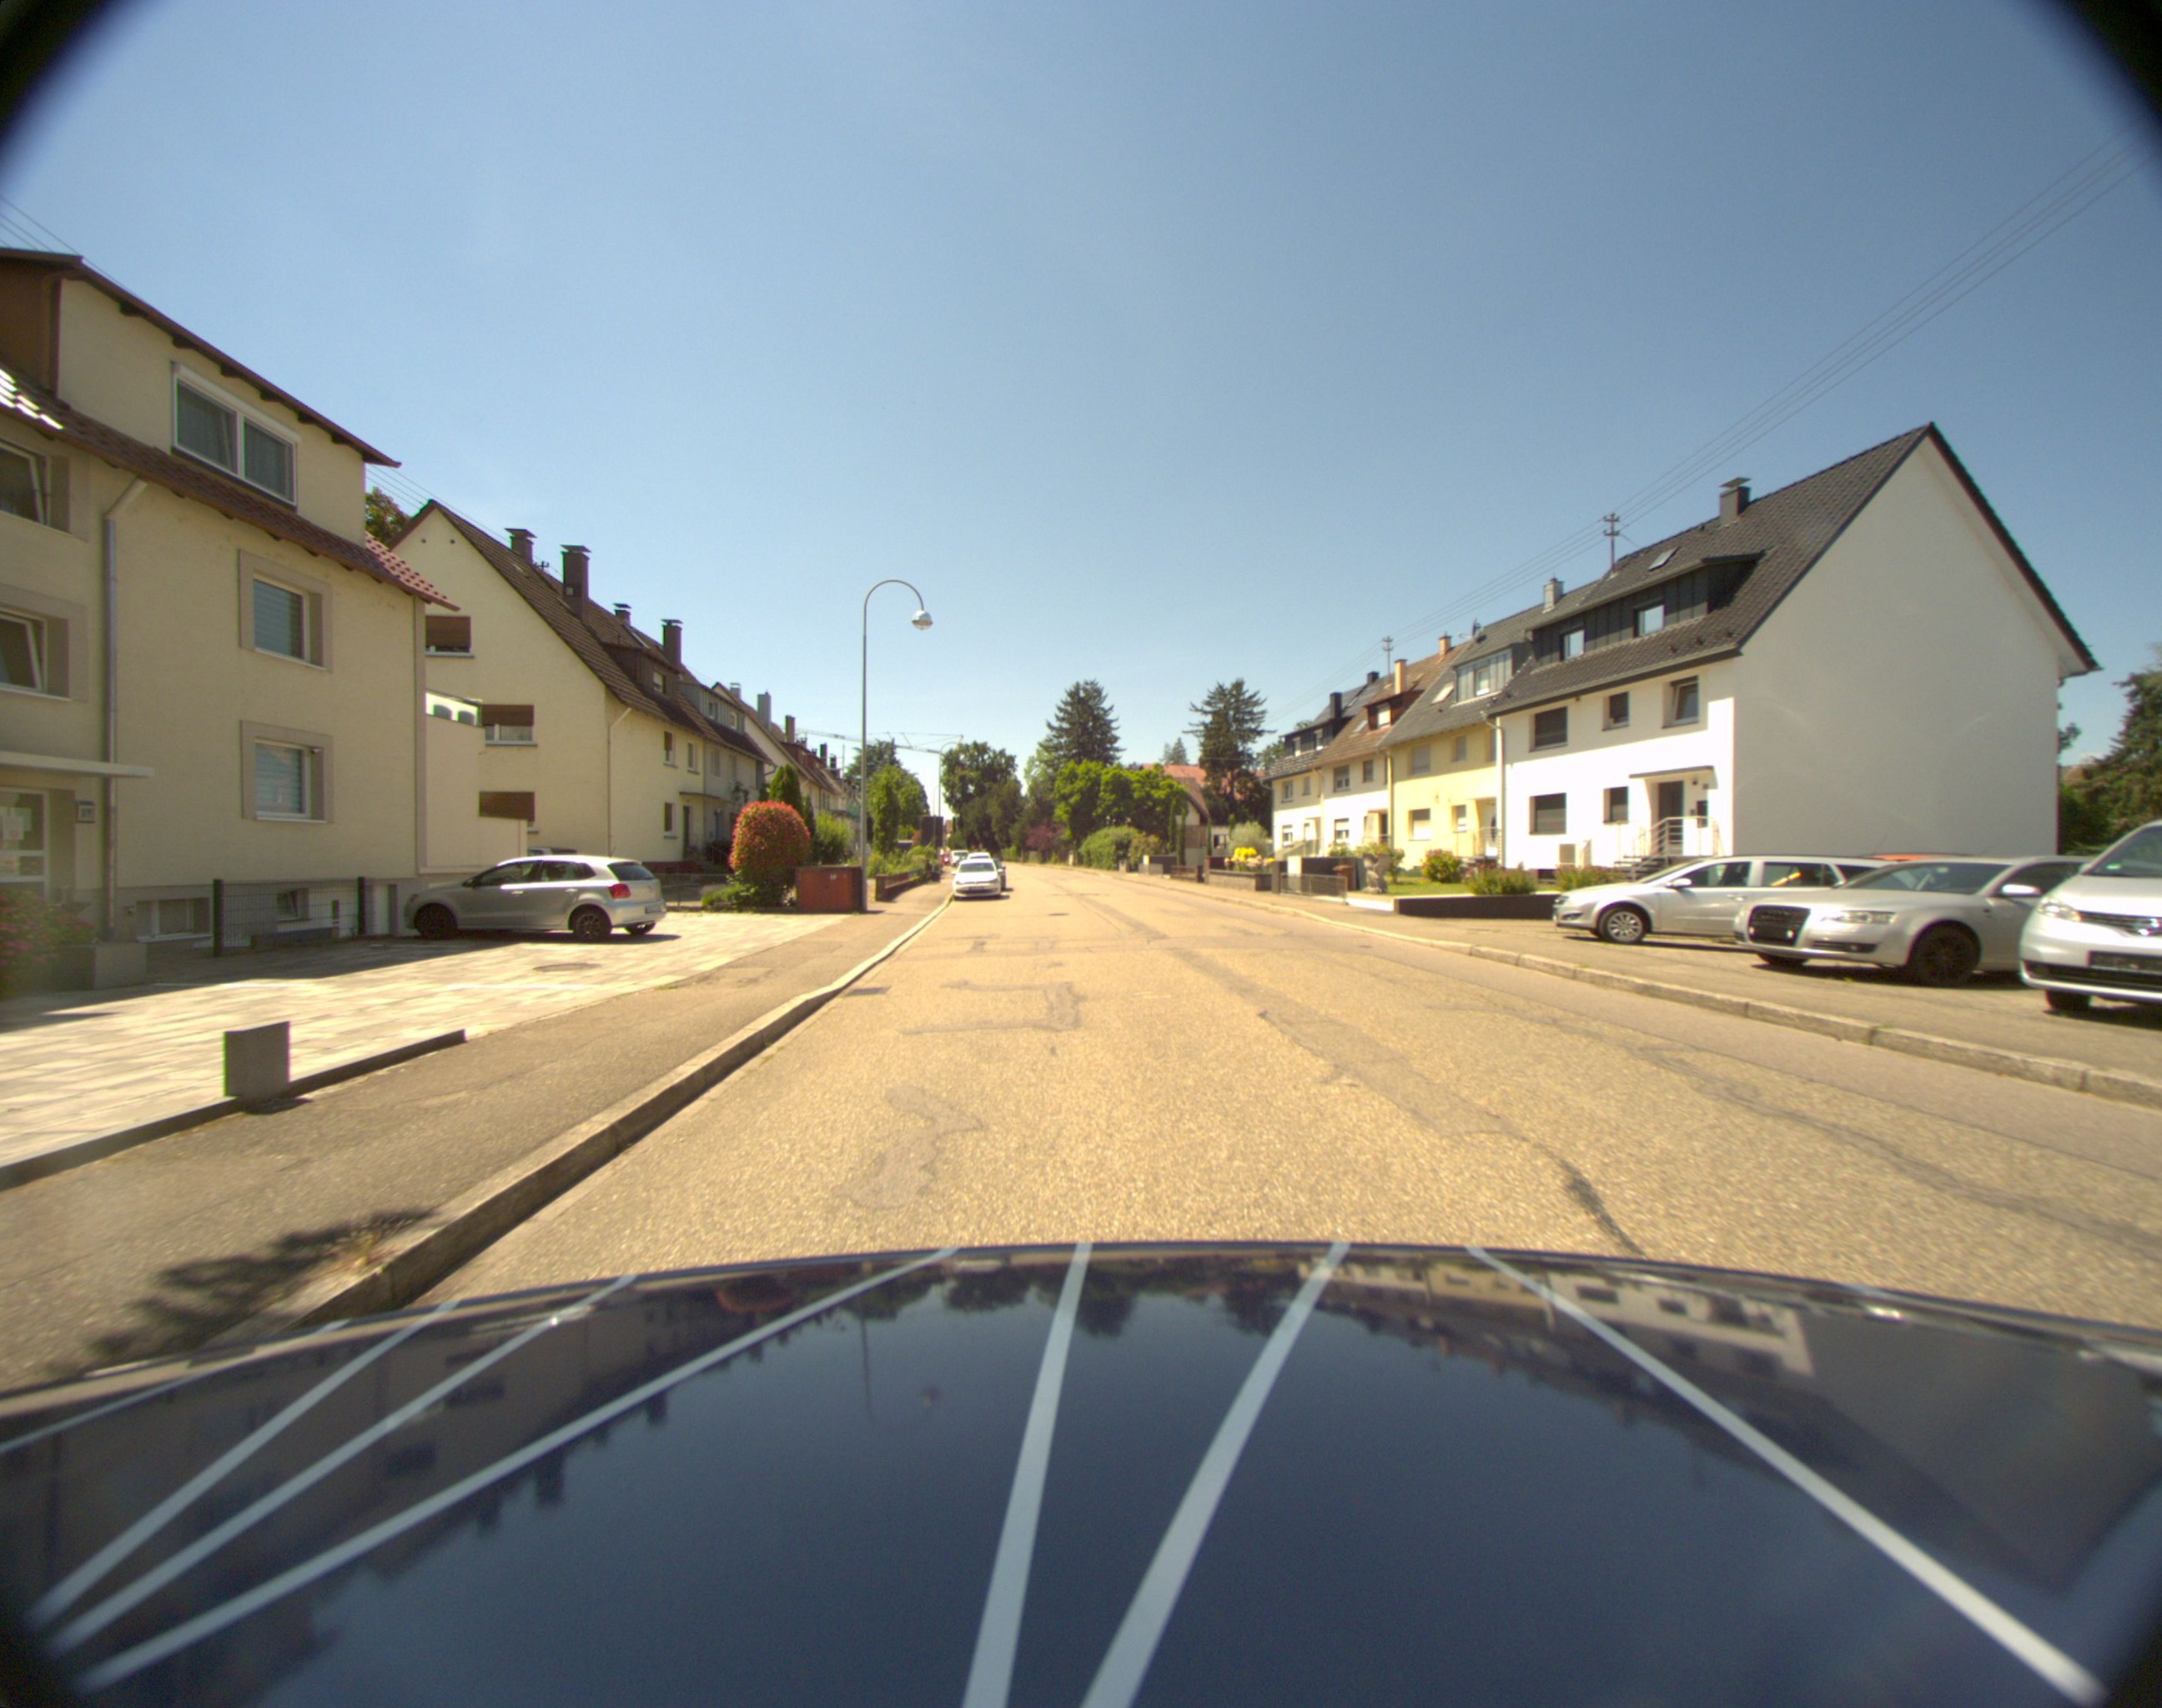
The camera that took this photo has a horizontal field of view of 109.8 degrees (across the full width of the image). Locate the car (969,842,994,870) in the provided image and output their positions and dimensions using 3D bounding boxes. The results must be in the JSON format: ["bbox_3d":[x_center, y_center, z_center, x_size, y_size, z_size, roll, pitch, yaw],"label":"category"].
[{"bbox_3d":[-7.114,0.140,54.486,1.689,1.770,3.936,-2,3,-7],"label":"car"}]

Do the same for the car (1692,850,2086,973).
[{"bbox_3d":[12.907,0.802,12.565,4.194,1.635,1.857,1,0,44],"label":"car"}]

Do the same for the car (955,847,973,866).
[{"bbox_3d":[-11.869,0.199,76.892,1.690,1.769,3.936,-2,1,-9],"label":"car"}]

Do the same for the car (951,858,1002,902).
[{"bbox_3d":[-3.812,0.892,28.156,1.689,1.446,3.737,-2,0,-6],"label":"car"}]

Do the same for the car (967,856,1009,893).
[{"bbox_3d":[-4.133,0.858,34.167,1.689,1.445,4.359,-2,1,-6],"label":"car"}]

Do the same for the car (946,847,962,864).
[{"bbox_3d":[-14.069,0.169,84.269,1.690,1.769,3.936,-2,1,-9],"label":"car"}]

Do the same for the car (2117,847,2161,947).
[{"bbox_3d":[20.650,0.810,12.483,1.829,1.745,4.174,3,-2,-33],"label":"car"}]

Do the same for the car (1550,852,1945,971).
[{"bbox_3d":[9.884,0.771,11.813,4.263,1.486,1.880,1,0,28],"label":"car"}]

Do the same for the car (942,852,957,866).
[{"bbox_3d":[-16.895,0.621,97.703,1.690,1.769,3.936,-2,1,-9],"label":"car"}]

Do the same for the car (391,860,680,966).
[{"bbox_3d":[-9.312,0.954,13.220,3.628,1.521,1.777,-3,1,-2],"label":"car"}]

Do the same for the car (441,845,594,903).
[{"bbox_3d":[-16.124,0.572,21.875,3.158,1.543,1.569,2,0,-8],"label":"car"}]

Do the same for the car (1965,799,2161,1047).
[{"bbox_3d":[10.247,0.574,6.292,4.366,1.866,1.848,2,0,-11],"label":"car"}]

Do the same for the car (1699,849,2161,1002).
[{"bbox_3d":[10.129,0.753,8.740,4.483,1.486,1.975,1,0,-2],"label":"car"}]
